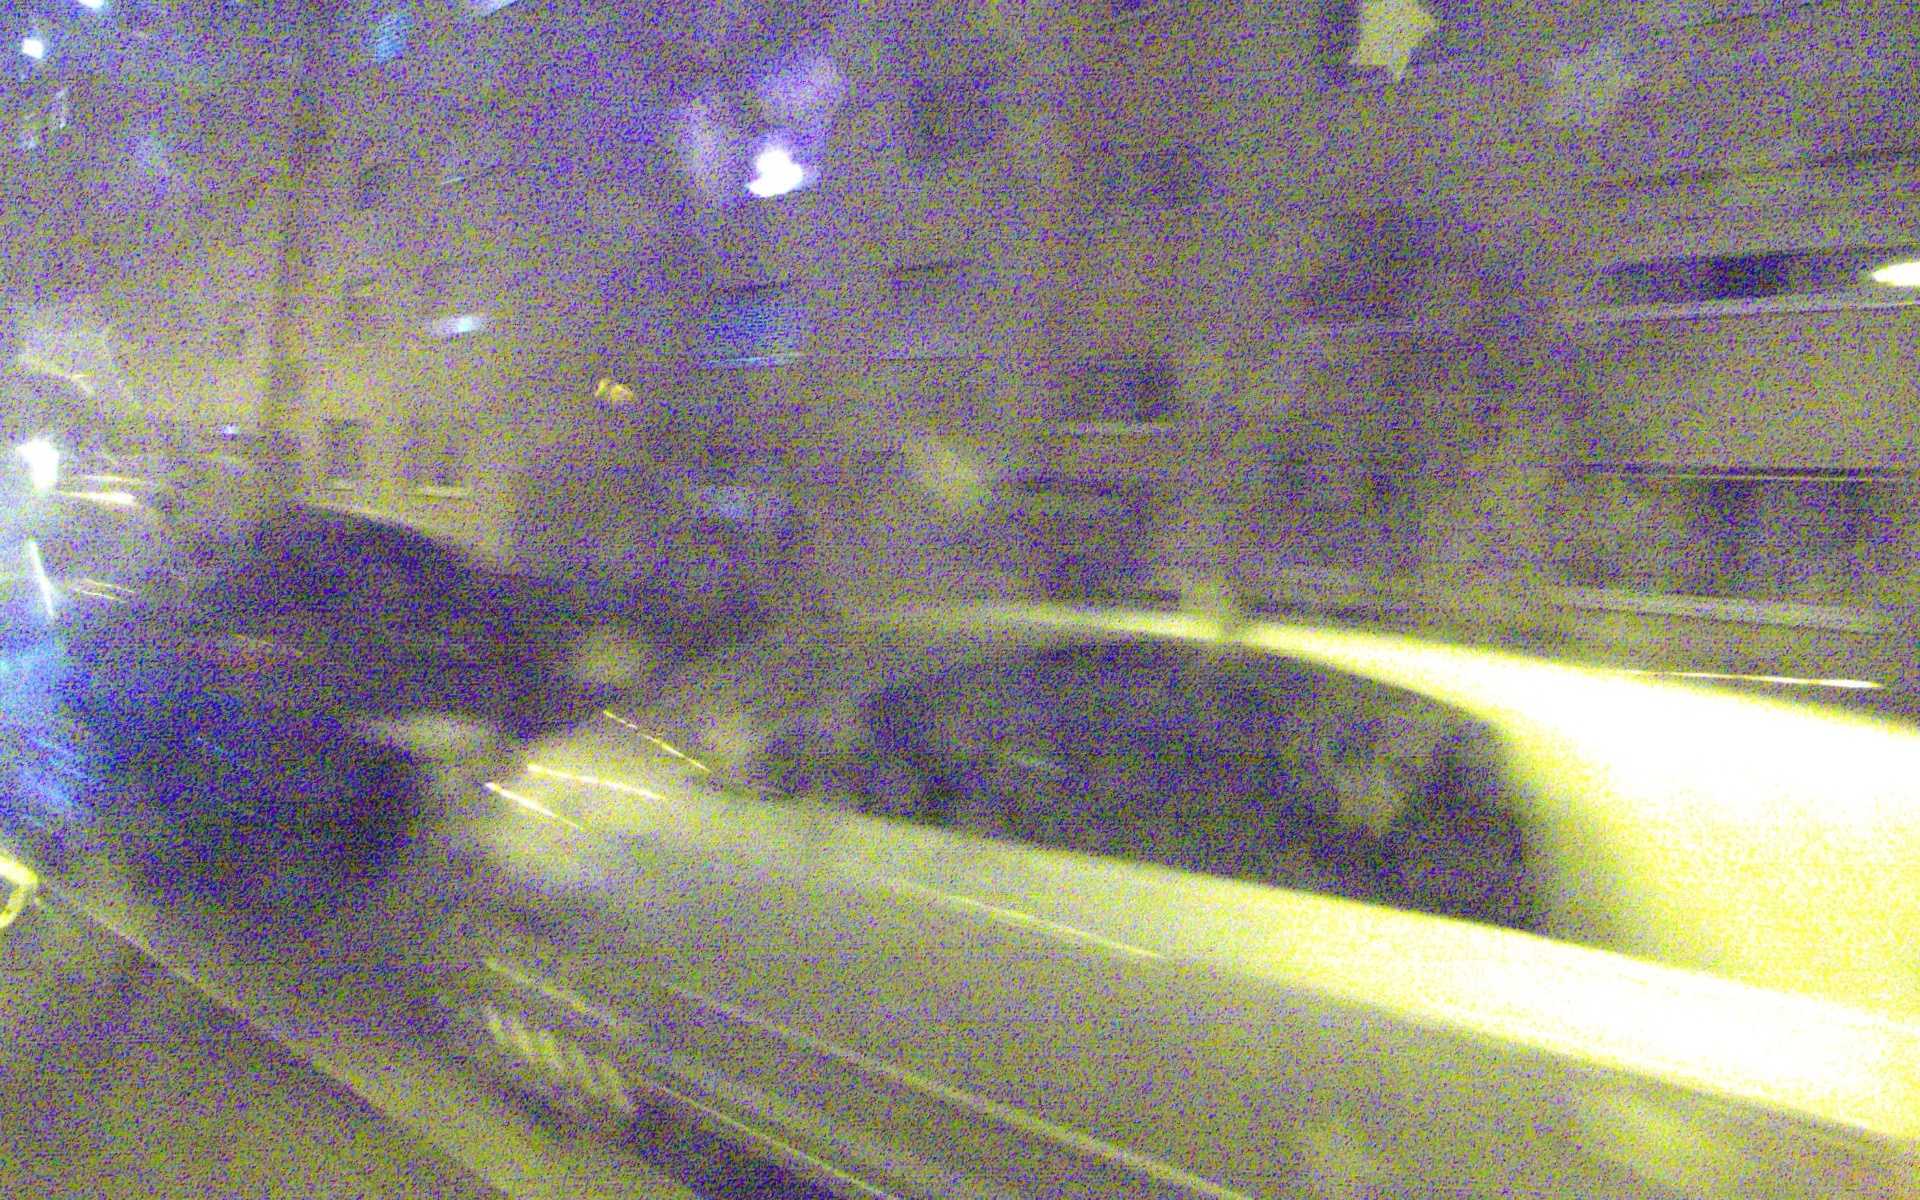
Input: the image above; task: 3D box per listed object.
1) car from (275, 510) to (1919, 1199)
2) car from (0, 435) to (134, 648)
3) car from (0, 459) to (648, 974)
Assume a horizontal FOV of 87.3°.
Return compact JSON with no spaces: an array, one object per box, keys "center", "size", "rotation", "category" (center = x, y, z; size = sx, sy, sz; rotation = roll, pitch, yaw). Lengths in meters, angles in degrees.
[{"center":[0.040,0.757,2.956],"size":[3.884,1.568,1.796],"rotation":[8,3,29],"category":"car"},{"center":[-8.801,-0.657,8.256],"size":[3.884,1.568,1.796],"rotation":[8,3,29],"category":"car"},{"center":[-4.060,0.189,5.229],"size":[4.666,1.600,1.869],"rotation":[8,3,29],"category":"car"}]
